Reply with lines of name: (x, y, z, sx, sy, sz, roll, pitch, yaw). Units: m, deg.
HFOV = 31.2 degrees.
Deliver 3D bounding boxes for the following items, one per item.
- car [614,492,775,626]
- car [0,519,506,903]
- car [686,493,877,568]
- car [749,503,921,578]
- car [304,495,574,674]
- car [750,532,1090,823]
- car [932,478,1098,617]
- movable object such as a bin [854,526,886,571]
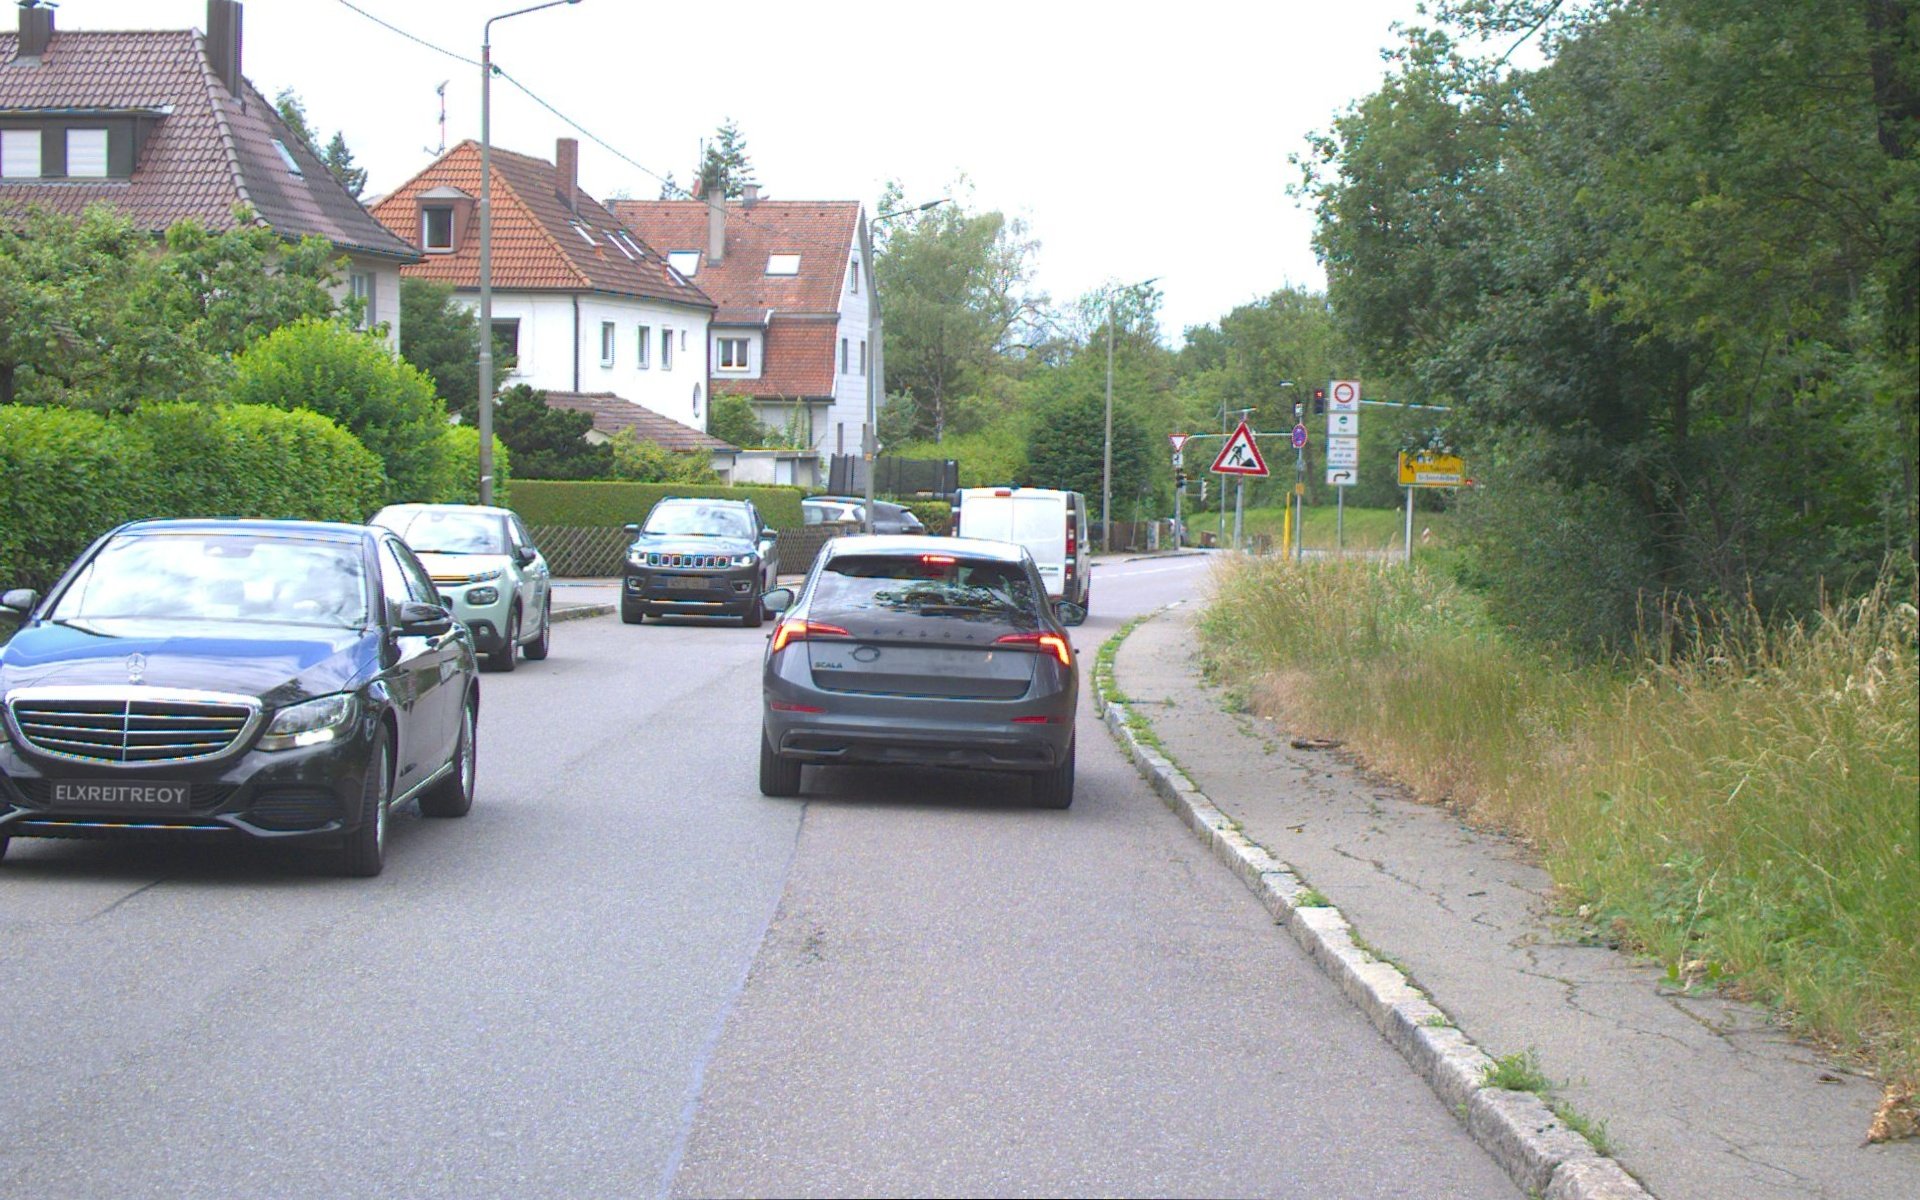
car: (-3.440, -0.576, 45.128, 1.833, 1.591, 4.324, 2, 2, -1)
car: (-3.251, 0.373, 15.507, 1.863, 1.409, 4.593, 2, 1, -1)
car: (-4.041, -1.587, 78.217, 3.988, 1.612, 1.999, 1, 2, 8)
car: (-2.996, -1.448, 83.153, 3.987, 1.700, 1.916, 2, 1, 2)
car: (-4.784, -0.179, 32.050, 1.783, 1.495, 4.015, 2, 1, 1)
car: (-0.260, 0.361, 20.061, 1.728, 1.434, 4.324, 2, 1, -1)
car: (0.877, -0.803, 51.241, 2.072, 1.915, 4.922, 2, 1, 5)
movable object such as a bin: (-1.943, -1.108, 74.297, 0.599, 0.947, 0.579, 1, 1, 6)
